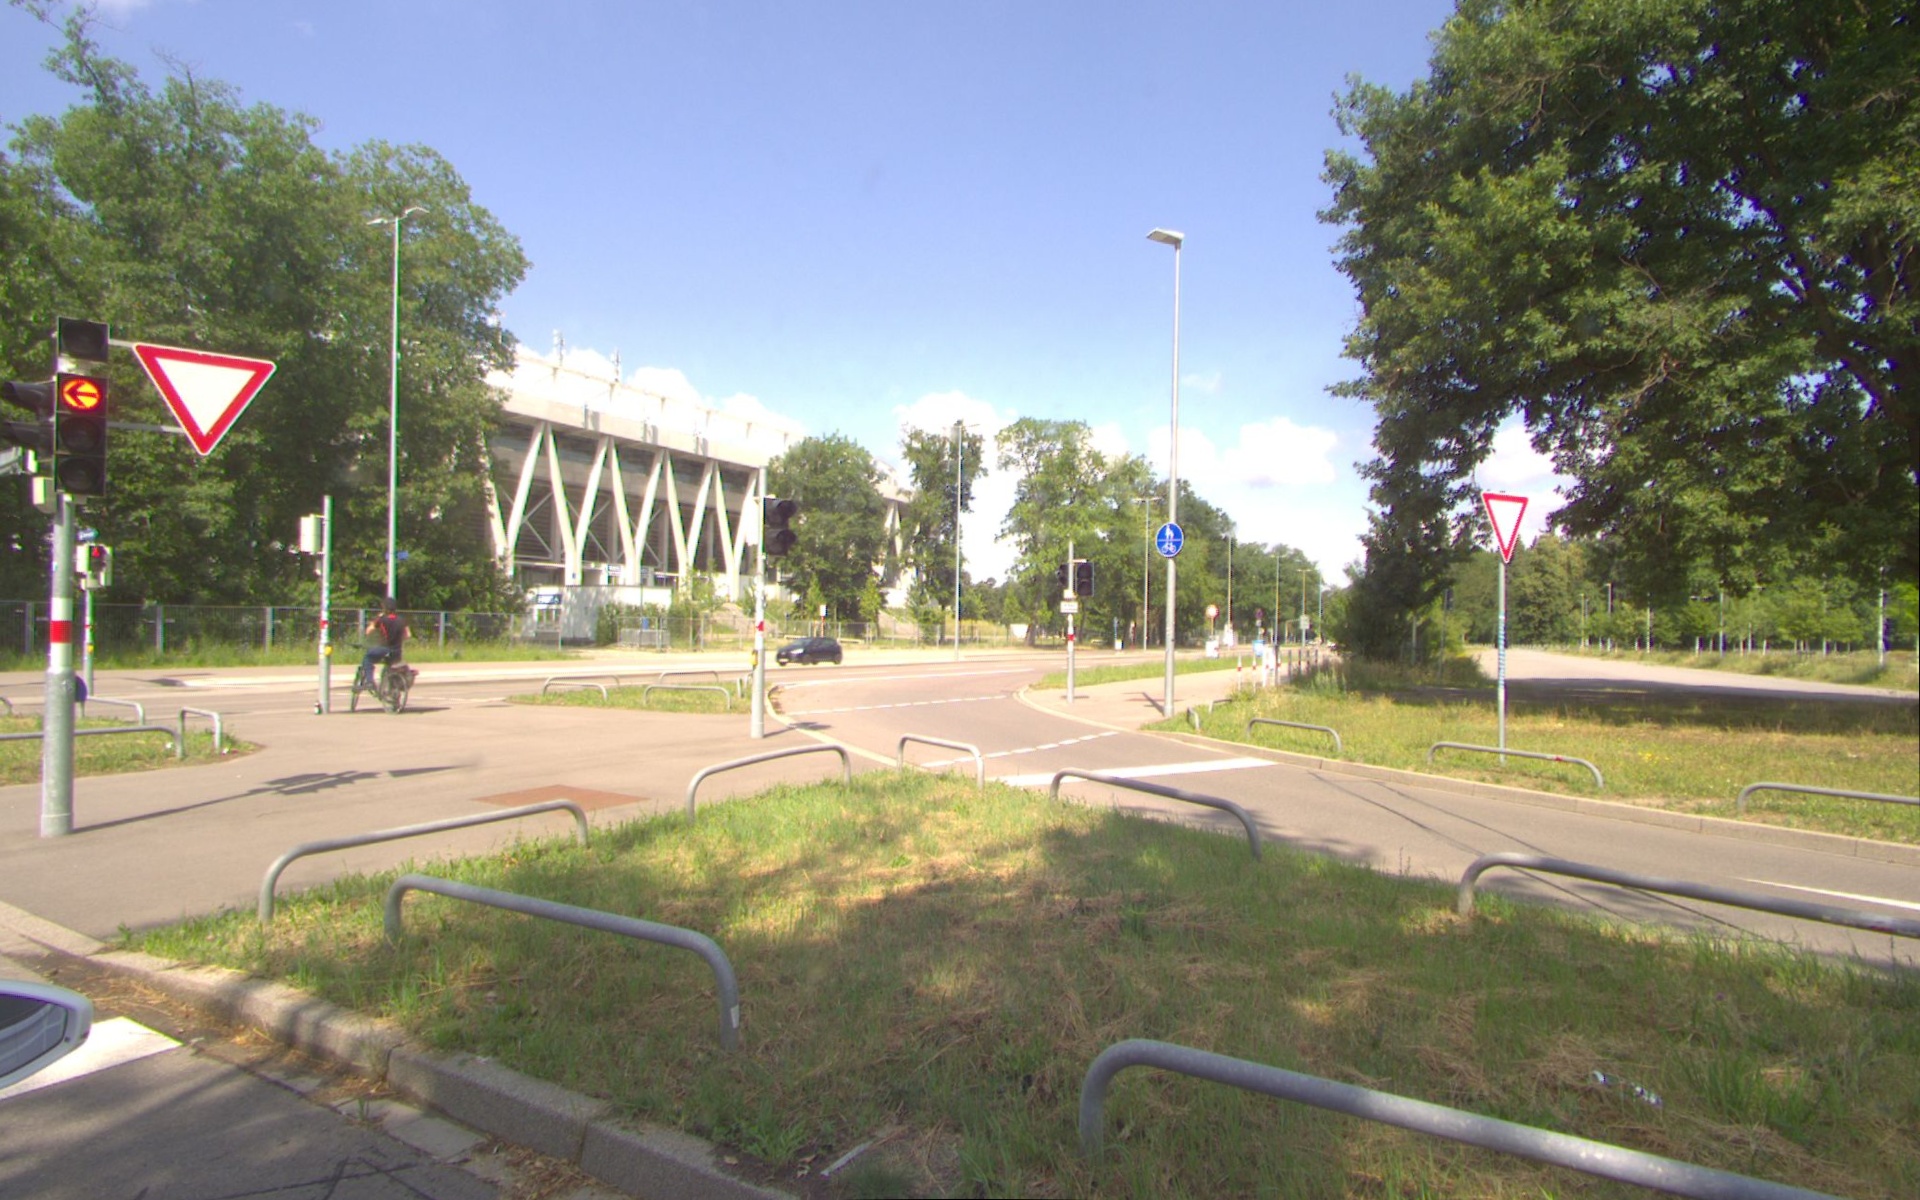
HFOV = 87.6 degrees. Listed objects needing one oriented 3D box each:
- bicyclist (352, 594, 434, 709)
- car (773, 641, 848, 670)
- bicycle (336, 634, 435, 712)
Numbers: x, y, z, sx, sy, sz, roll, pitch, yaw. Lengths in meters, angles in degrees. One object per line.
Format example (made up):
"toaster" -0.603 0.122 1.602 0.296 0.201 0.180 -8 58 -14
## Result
"bicyclist" -9.313 0.832 16.448 0.967 1.820 0.881 -1 -2 40
"car" -7.518 2.780 50.641 1.580 1.395 3.956 -1 -2 32
"bicycle" -9.528 1.173 16.590 1.876 1.221 0.876 -2 -2 42
